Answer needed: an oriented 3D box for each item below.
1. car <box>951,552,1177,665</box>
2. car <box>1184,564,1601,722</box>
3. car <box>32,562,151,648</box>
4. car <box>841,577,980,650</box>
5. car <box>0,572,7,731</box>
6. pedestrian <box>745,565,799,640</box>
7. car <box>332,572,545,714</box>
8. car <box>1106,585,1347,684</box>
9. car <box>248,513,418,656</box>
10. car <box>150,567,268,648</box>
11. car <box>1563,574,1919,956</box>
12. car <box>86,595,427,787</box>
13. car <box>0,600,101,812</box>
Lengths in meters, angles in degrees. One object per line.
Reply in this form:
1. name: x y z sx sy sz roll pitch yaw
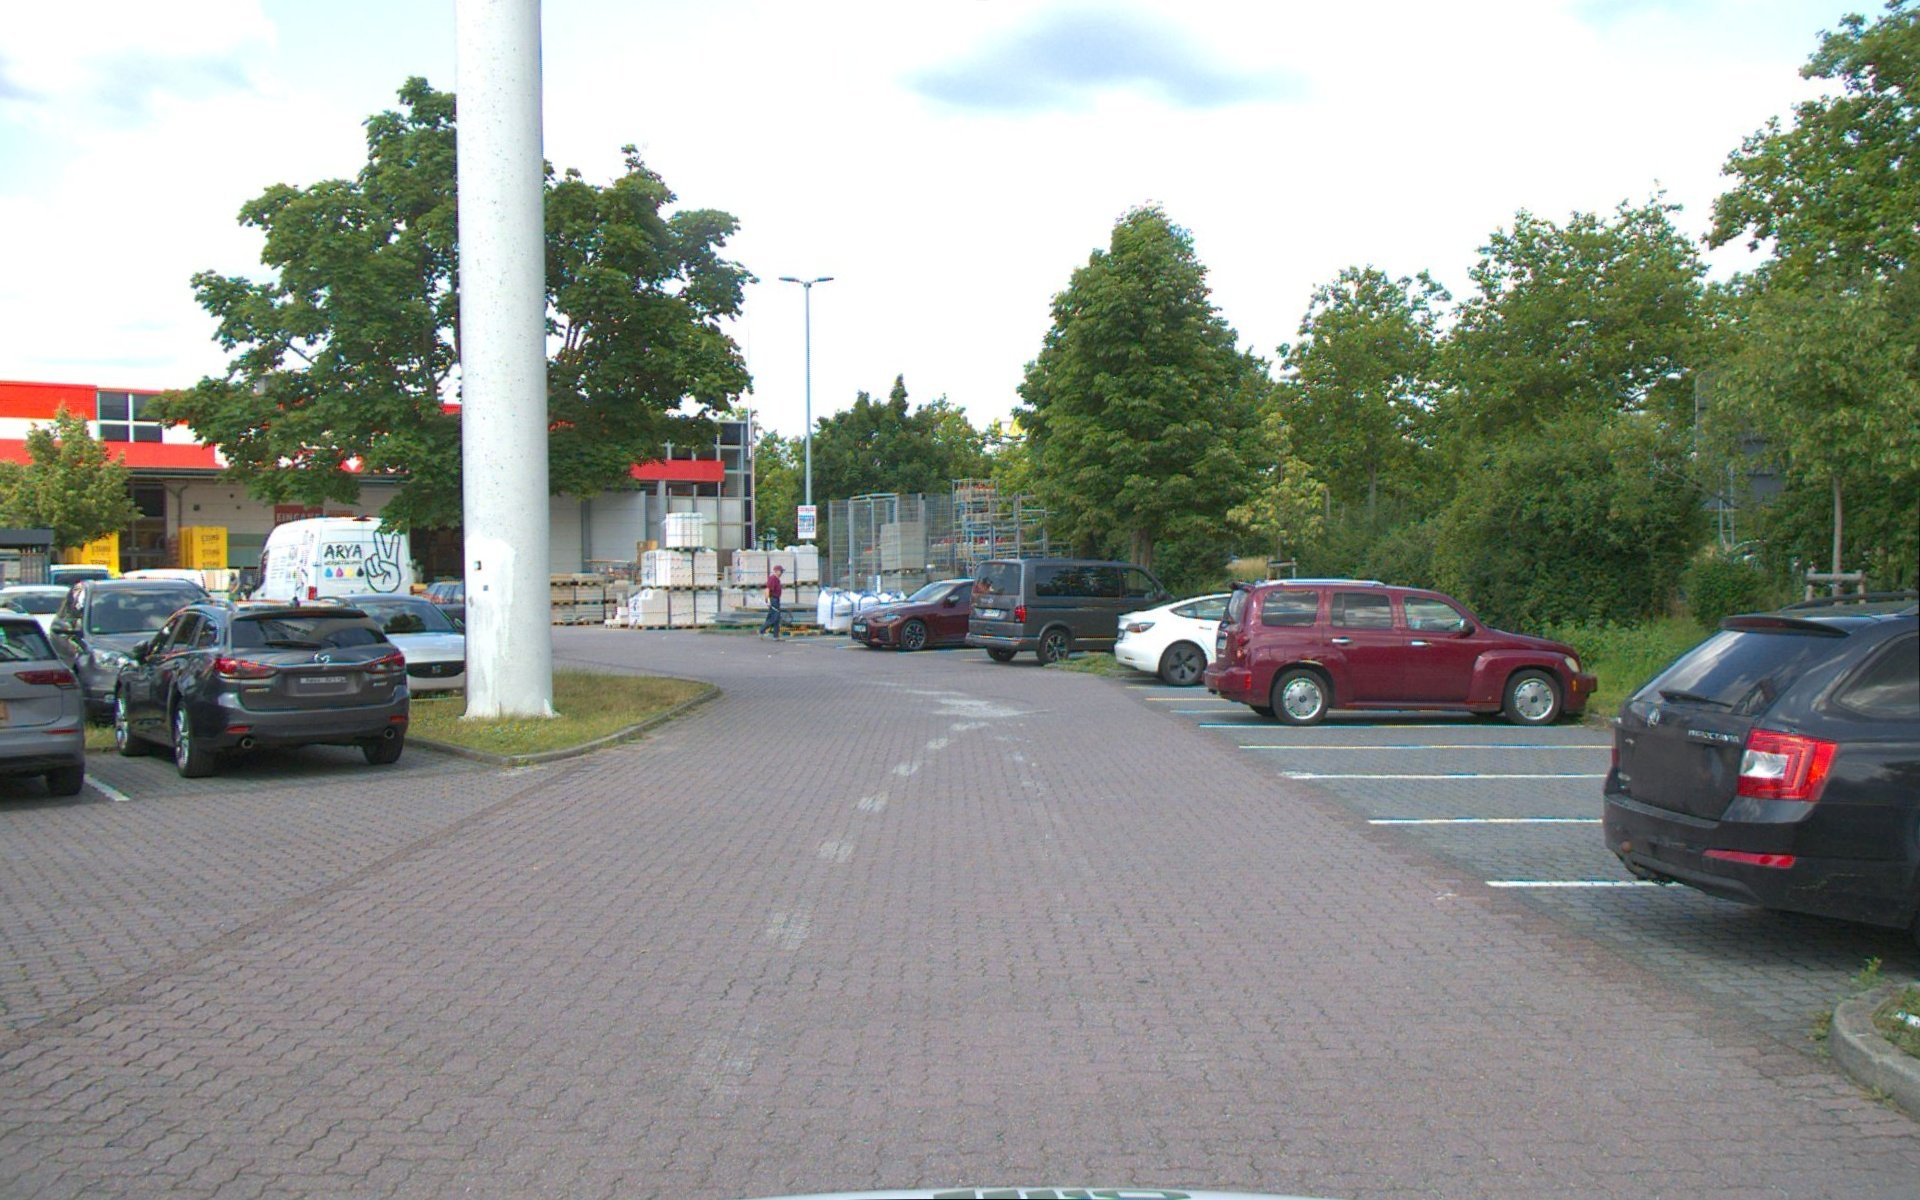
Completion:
1. car: 2.022 0.181 31.937 4.004 2.054 1.926 0 -1 -32
2. car: 4.848 0.452 18.971 4.219 1.624 1.999 -1 1 -2
3. car: -22.262 0.147 42.348 1.980 2.049 3.945 2 -2 -38
4. car: -1.057 0.310 35.505 2.650 1.457 1.342 2 -2 -28
5. car: -11.735 0.554 18.000 1.890 1.624 3.947 -2 1 -37
6. pedestrian: -4.297 0.057 37.802 0.901 1.695 0.784 -1 0 27
7. car: -6.947 0.503 21.786 1.971 1.646 3.963 -1 1 -28
8. car: 4.210 0.542 26.452 3.559 1.494 1.633 -1 -1 -1
9. car: -12.230 -0.317 32.093 2.029 2.554 4.671 0 1 -35
10. car: -20.332 0.223 44.713 1.980 2.049 3.945 2 -2 -38
11. car: 4.833 0.625 7.042 3.907 1.405 1.698 0 -1 -3
12. car: -6.513 0.714 15.072 1.810 1.464 4.033 -2 1 -39
13. car: -8.062 0.759 12.893 1.709 1.472 3.720 -2 1 -39
